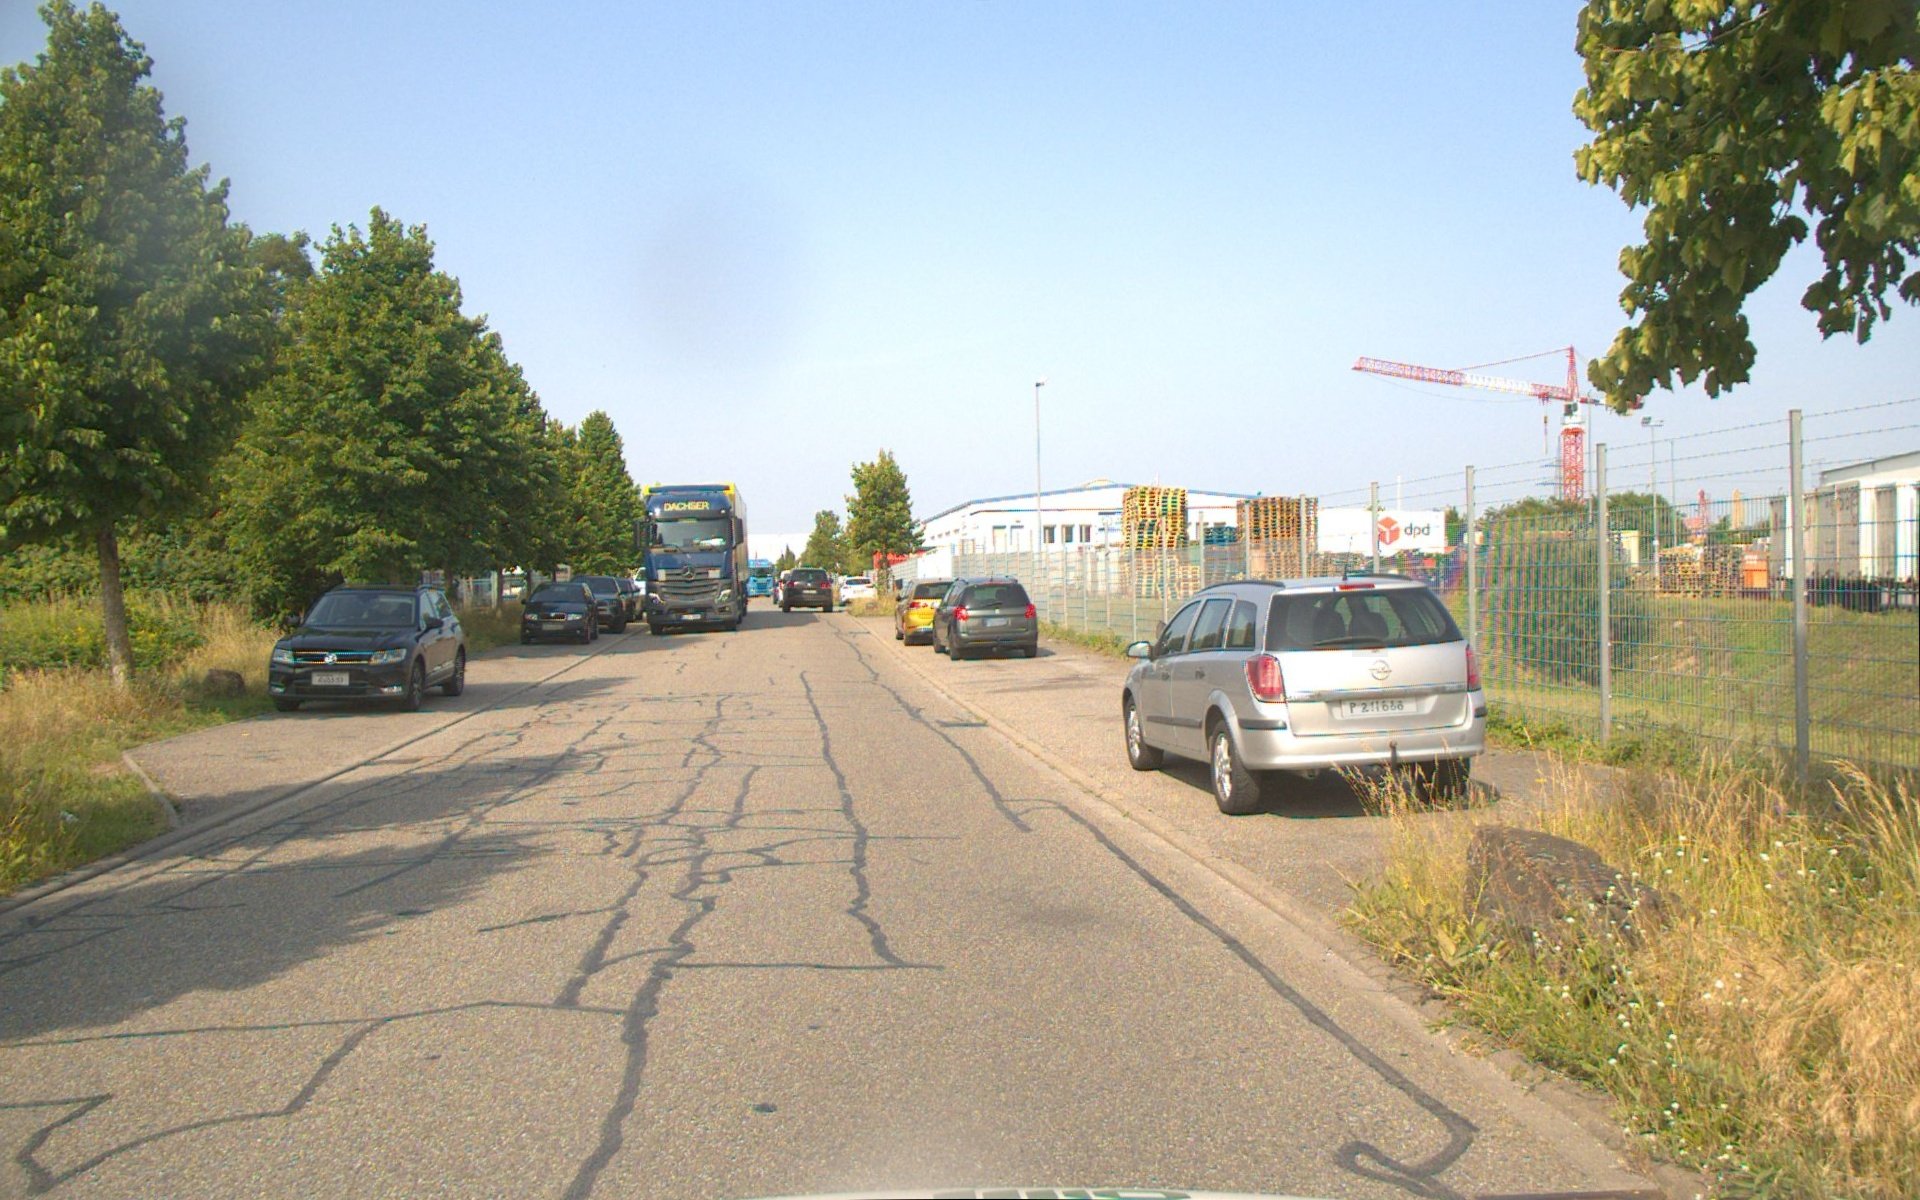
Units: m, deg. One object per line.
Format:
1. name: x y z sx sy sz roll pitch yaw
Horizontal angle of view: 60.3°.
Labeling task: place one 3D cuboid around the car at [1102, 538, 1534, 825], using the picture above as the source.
1. car: 2.400 0.451 12.343 1.765 1.654 4.443 -3 1 -6

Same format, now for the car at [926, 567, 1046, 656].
1. car: 0.437 0.180 32.368 1.683 1.541 3.997 -3 1 -8

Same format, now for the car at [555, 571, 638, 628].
1. car: -10.187 -0.055 46.586 1.797 1.522 4.045 0 1 -5

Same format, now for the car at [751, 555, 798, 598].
1. car: -9.556 -1.211 85.709 2.079 2.147 4.622 -1 1 -3

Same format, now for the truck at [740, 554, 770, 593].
1. truck: -20.639 -2.691 166.112 2.825 3.826 6.073 -1 1 -8

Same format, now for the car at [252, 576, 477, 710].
1. car: -8.098 0.508 22.934 1.866 1.654 4.444 0 1 -5

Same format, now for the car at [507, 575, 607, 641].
1. car: -9.833 0.163 40.634 1.797 1.522 4.045 0 1 -5

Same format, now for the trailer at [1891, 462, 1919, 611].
1. trailer: 29.379 -1.639 43.656 7.792 3.961 2.779 1 2 12

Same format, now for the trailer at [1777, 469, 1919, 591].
1. trailer: 31.904 -2.318 55.224 7.792 3.961 2.746 1 2 12

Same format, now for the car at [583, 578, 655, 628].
1. car: -10.852 0.069 52.852 1.797 1.522 4.045 0 1 -5

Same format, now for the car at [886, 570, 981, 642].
1. car: -0.661 0.086 38.045 1.682 1.480 4.181 -3 1 -7

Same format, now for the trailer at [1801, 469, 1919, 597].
1. trailer: 31.286 -2.107 52.353 7.792 3.961 2.779 1 2 12

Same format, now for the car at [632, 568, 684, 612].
1. car: -12.770 -0.458 70.067 1.797 1.793 4.045 0 1 -5

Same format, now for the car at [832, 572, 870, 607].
1. car: -5.519 -0.568 83.539 1.682 1.709 3.944 -1 1 -7

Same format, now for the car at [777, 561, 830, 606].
1. car: -6.027 -0.640 64.018 1.843 1.614 4.111 -1 1 -3

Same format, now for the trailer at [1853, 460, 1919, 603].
1. trailer: 29.971 -1.895 46.700 7.792 3.961 2.779 1 2 12

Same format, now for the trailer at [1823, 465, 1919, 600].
1. trailer: 30.556 -2.002 49.532 7.792 3.961 2.779 1 2 12

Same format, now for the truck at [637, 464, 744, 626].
1. truck: -7.846 -1.563 49.189 2.451 4.217 10.365 -3 1 -7
